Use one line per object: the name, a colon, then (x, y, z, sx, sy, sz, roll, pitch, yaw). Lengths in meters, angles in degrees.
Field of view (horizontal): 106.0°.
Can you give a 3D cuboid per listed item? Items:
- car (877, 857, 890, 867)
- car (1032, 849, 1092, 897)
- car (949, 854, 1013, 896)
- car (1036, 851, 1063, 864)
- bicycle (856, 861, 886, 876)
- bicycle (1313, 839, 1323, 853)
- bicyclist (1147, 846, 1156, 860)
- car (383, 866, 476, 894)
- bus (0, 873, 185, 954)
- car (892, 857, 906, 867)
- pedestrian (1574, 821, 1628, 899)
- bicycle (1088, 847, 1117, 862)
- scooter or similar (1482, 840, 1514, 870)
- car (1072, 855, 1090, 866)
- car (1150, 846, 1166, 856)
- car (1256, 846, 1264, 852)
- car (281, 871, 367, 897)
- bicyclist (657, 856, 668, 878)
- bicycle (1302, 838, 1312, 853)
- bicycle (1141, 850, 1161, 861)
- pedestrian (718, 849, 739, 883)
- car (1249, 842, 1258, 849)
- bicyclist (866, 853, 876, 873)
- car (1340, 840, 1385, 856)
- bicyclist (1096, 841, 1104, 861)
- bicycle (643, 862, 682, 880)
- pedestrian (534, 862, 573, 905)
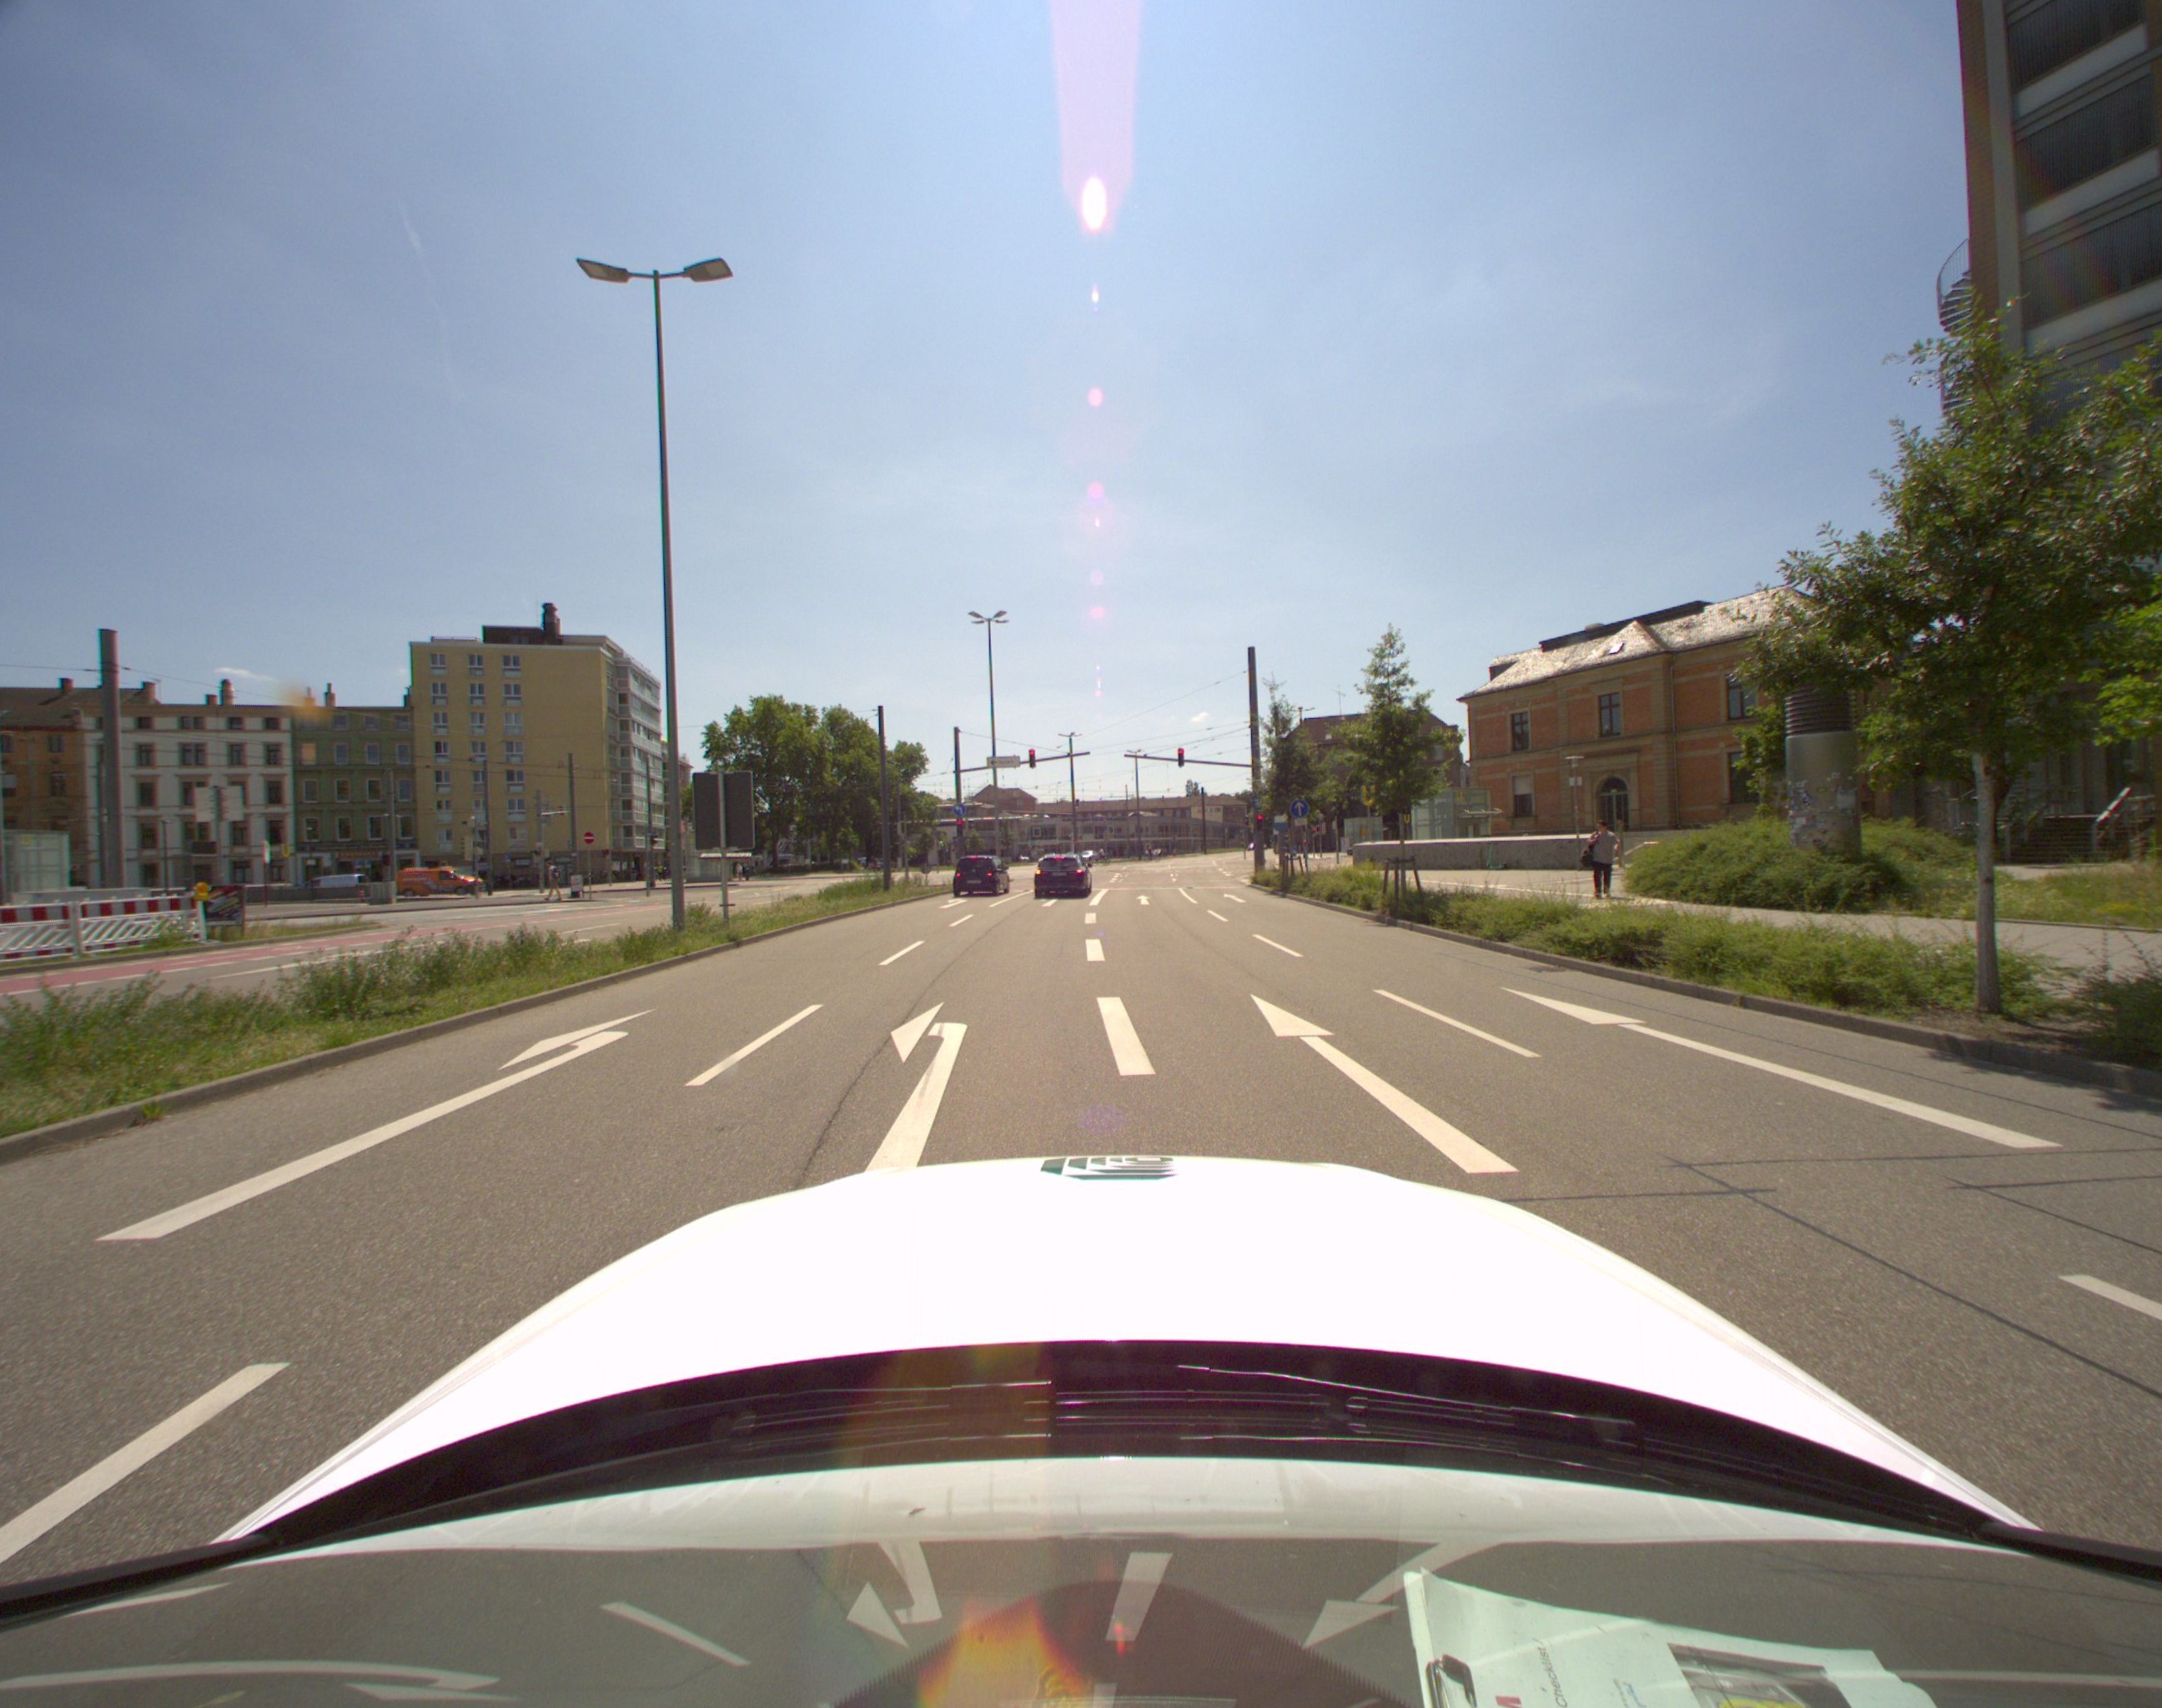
car: (-32.200, 1.294, 132.813, 1.421, 1.508, 3.436, -1, 2, -2)
car: (-0.610, 0.636, 29.530, 1.709, 1.556, 4.591, -2, 0, 4)
car: (-3.687, 0.741, 30.661, 1.614, 1.463, 4.004, -2, 0, 4)
car: (-3.598, 0.384, 93.872, 1.606, 1.390, 4.146, -2, 0, 21)
bicycle: (-20.750, 1.388, 80.477, 2.769, 1.385, 0.670, -1, 2, -4)
bicycle: (31.203, -1.074, 107.293, 0.609, 1.788, 3.186, -1, 2, 4)
bicyclist: (7.690, -0.144, 88.777, 0.733, 1.479, 0.653, -2, 2, -15)
car: (-44.232, 1.745, 55.408, 4.625, 1.613, 1.670, -2, 2, -12)
bus: (-19.879, 1.153, 14.669, 1.241, 1.249, 5.815, -1, 2, -3)
car: (-29.568, 1.280, 132.209, 1.506, 1.418, 3.419, -1, 2, -2)
pedestrian: (11.691, 0.125, 18.335, 0.728, 1.706, 0.811, -1, 0, 5)
bicycle: (2.125, 0.058, 79.975, 2.815, 1.463, 0.634, -1, 2, 1)
scooter or similar: (17.055, 0.042, 33.329, 0.398, 1.167, 1.282, -2, 2, -18)
car: (0.067, 0.793, 105.963, 1.420, 1.285, 3.276, -1, 2, 16)
car: (12.356, -0.531, 130.358, 1.557, 1.427, 3.633, -1, 2, 21)
car: (45.855, -1.270, 209.017, 1.578, 1.528, 3.720, -1, 2, 4)
car: (-56.762, 2.234, 61.138, 4.316, 1.627, 1.805, -2, 2, -16)
bicyclist: (-42.340, 1.290, 82.312, 0.743, 2.105, 0.767, -3, 2, -44)
bicycle: (29.783, -1.124, 107.460, 0.609, 1.788, 3.186, -1, 2, 4)
bicycle: (7.662, 0.161, 88.762, 2.164, 1.107, 0.454, -2, 2, -14)
pedestrian: (-31.416, 1.070, 72.596, 1.210, 2.937, 1.336, -1, 2, 0)
car: (39.337, -1.874, 186.142, 1.524, 1.458, 3.556, -1, 2, 4)
bicyclist: (-20.735, 0.907, 80.473, 0.844, 1.965, 0.626, -1, 2, -4)
car: (28.417, -0.623, 82.337, 4.109, 1.450, 1.689, -2, 2, -16)
bicyclist: (1.877, -0.311, 79.925, 0.760, 1.937, 0.660, -1, 2, 2)
bicycle: (-42.274, 1.734, 82.372, 3.343, 1.595, 0.809, -3, 3, -43)
pedestrian: (-25.079, 1.404, 38.721, 1.176, 1.933, 0.902, -1, 2, -3)
